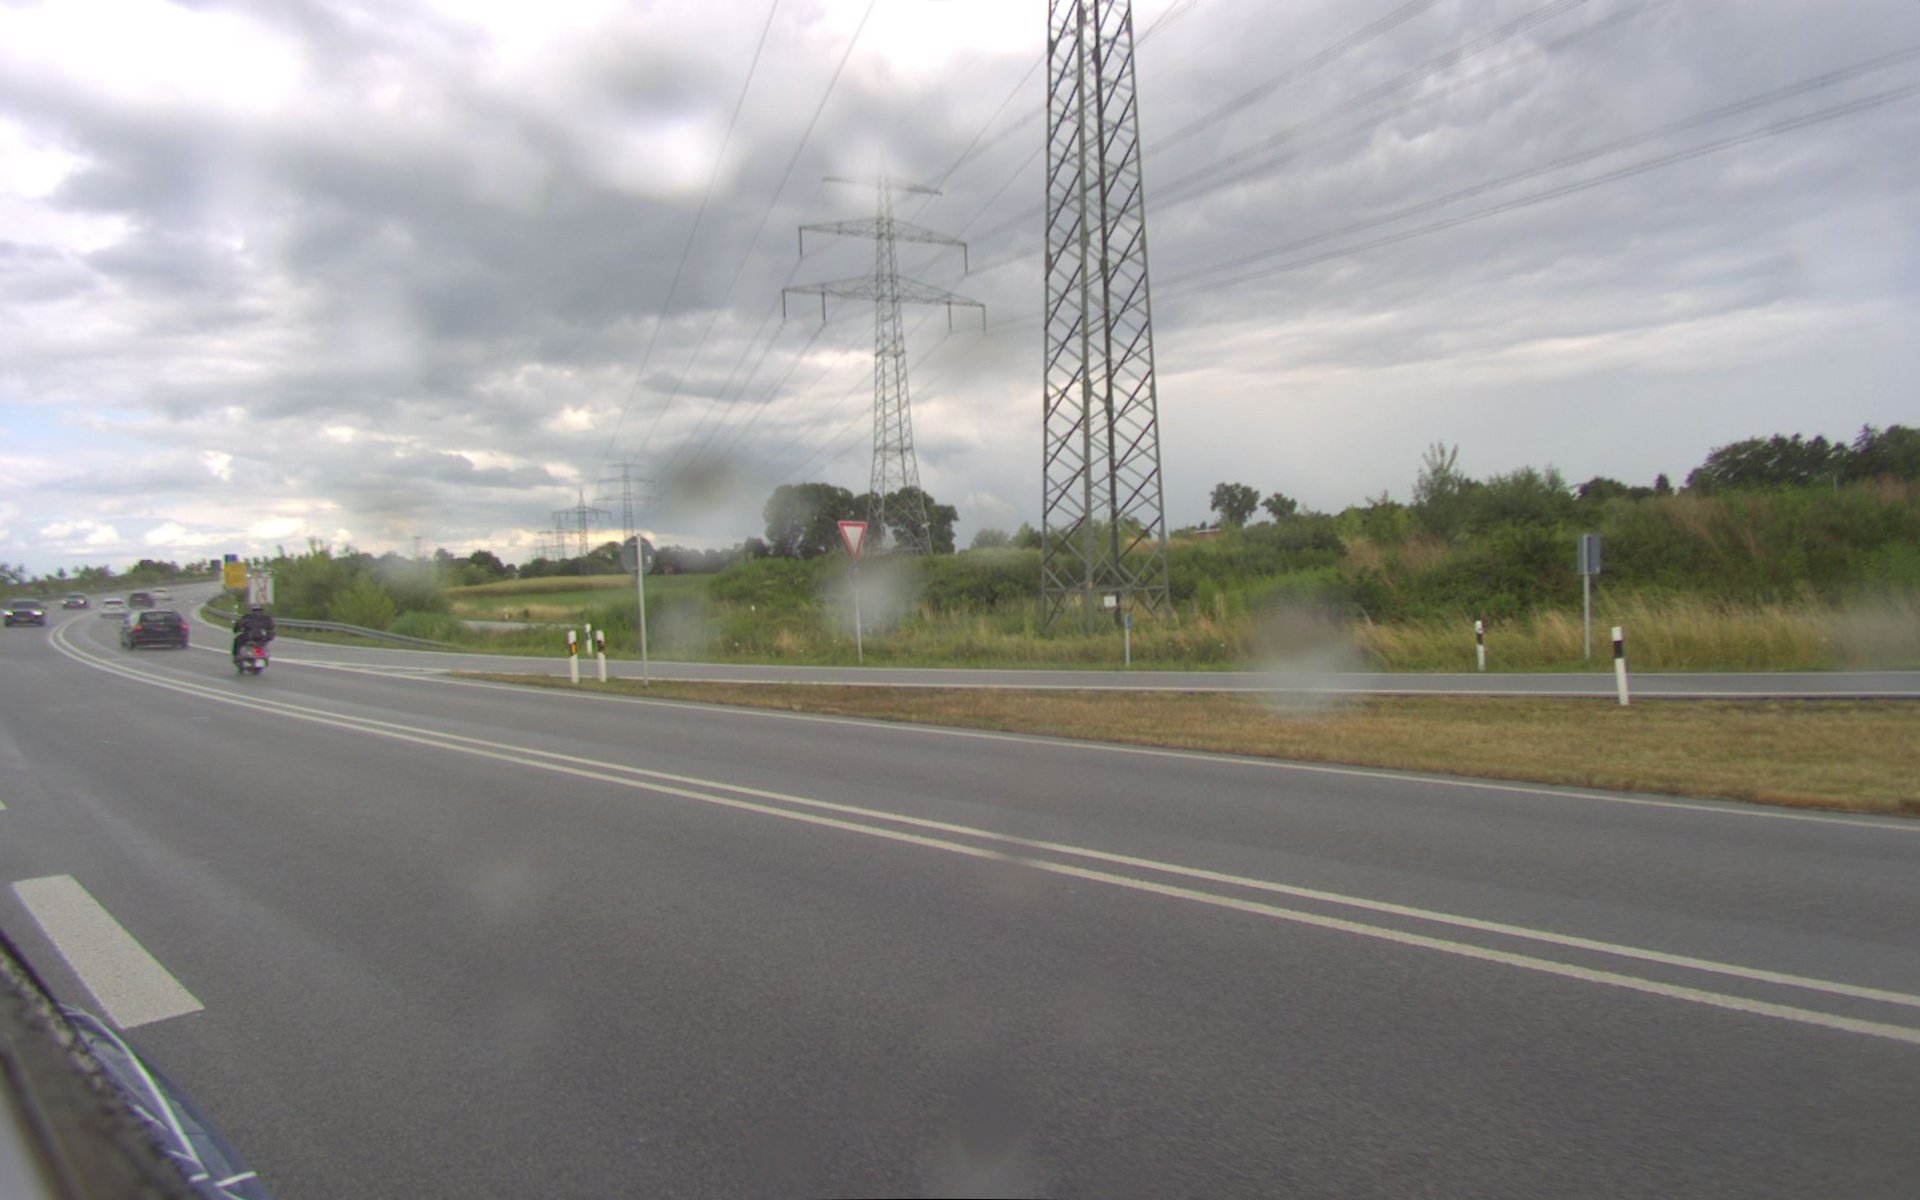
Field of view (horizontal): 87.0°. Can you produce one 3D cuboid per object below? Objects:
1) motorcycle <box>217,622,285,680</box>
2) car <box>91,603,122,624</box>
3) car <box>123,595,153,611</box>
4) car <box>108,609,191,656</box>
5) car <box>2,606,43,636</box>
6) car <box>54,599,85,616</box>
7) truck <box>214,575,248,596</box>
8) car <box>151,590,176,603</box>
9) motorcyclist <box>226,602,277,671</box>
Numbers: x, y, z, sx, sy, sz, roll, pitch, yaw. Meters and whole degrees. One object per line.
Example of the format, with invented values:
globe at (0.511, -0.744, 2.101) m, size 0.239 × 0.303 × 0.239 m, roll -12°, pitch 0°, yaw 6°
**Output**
motorcycle at (-16.503, 1.166, 23.548) m, size 2.184 × 1.247 × 0.793 m, roll -2°, pitch 0°, yaw 41°
car at (-65.968, 0.996, 78.181) m, size 1.684 × 1.491 × 4.616 m, roll -1°, pitch 2°, yaw -42°
car at (-81.578, 0.290, 100.489) m, size 1.775 × 1.586 × 4.272 m, roll 1°, pitch 0°, yaw -32°
car at (-30.020, 1.163, 37.438) m, size 4.225 × 1.606 × 1.780 m, roll -1°, pitch 0°, yaw 43°
car at (-58.600, 1.291, 63.303) m, size 1.770 × 1.782 × 4.005 m, roll -2°, pitch 1°, yaw -42°
car at (-85.667, 0.704, 97.399) m, size 1.721 × 1.508 × 4.061 m, roll -2°, pitch 1°, yaw -34°
truck at (-114.196, -2.249, 158.545) m, size 2.225 × 3.179 × 6.710 m, roll 1°, pitch 0°, yaw -16°
car at (-96.550, -0.402, 122.729) m, size 1.656 × 1.468 × 4.088 m, roll 0°, pitch 1°, yaw -28°
motorcyclist at (-16.412, 0.844, 23.454) m, size 0.824 × 1.546 × 0.793 m, roll -2°, pitch 0°, yaw 42°
